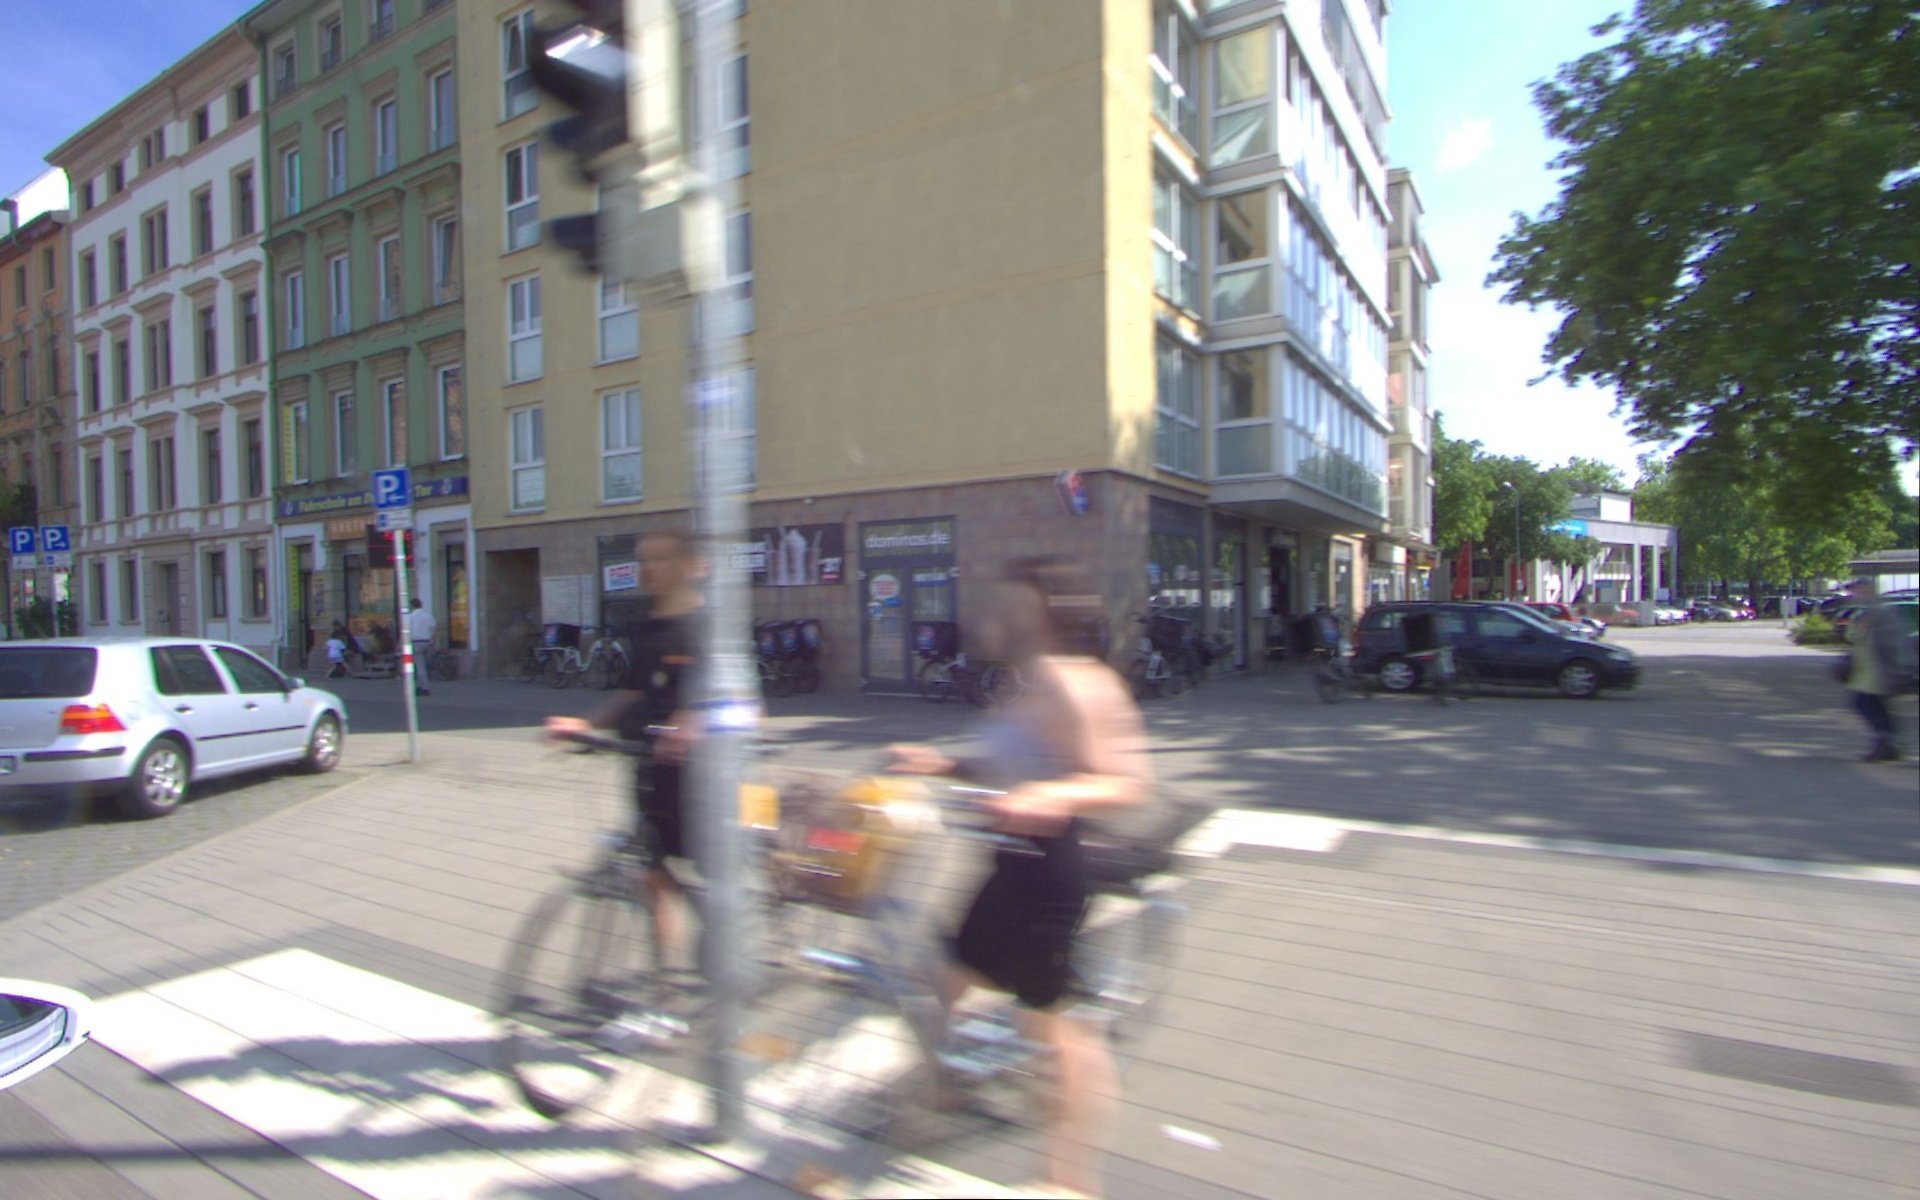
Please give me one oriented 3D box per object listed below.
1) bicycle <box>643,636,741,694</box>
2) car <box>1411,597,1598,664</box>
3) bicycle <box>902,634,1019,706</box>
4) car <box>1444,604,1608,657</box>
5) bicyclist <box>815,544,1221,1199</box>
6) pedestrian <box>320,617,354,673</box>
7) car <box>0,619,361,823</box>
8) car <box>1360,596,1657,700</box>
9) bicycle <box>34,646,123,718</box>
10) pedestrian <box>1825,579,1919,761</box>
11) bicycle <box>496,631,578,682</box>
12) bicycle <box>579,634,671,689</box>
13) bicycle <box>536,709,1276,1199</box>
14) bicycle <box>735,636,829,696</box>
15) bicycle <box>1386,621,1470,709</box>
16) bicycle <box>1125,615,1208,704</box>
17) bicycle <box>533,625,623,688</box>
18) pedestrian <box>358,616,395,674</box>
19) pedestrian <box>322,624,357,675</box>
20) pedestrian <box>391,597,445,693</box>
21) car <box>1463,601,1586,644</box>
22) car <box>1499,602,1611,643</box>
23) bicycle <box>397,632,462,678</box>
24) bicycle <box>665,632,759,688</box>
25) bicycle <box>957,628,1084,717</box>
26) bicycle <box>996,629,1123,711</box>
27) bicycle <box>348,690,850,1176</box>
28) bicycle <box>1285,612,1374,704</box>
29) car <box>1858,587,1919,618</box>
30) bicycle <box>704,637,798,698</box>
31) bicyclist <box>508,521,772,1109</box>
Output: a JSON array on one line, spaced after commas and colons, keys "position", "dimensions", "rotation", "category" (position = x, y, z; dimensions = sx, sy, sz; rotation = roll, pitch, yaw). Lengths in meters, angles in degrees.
[{"position": [-4.640, 1.108, 17.315], "dimensions": [1.731, 0.928, 0.581], "rotation": [-1, 1, 32], "category": "bicycle"}, {"position": [13.540, 0.699, 24.959], "dimensions": [3.942, 1.459, 1.880], "rotation": [2, 2, 33], "category": "car"}, {"position": [-0.015, 1.010, 14.886], "dimensions": [1.735, 0.978, 0.580], "rotation": [-1, 1, 38], "category": "bicycle"}, {"position": [16.150, 0.816, 28.629], "dimensions": [3.942, 1.287, 1.734], "rotation": [2, 1, 33], "category": "car"}, {"position": [0.120, 0.701, 2.346], "dimensions": [0.606, 1.593, 0.727], "rotation": [0, 0, -40], "category": "bicyclist"}, {"position": [-15.481, 1.109, 24.887], "dimensions": [0.522, 1.372, 0.524], "rotation": [0, 1, 32], "category": "pedestrian"}, {"position": [-7.362, 0.942, 9.109], "dimensions": [1.779, 1.458, 4.001], "rotation": [0, -2, -7], "category": "car"}, {"position": [8.769, 0.742, 16.198], "dimensions": [4.035, 1.489, 1.651], "rotation": [0, -3, 33], "category": "car"}, {"position": [-14.782, 1.352, 16.782], "dimensions": [1.794, 1.110, 0.580], "rotation": [-2, 3, 33], "category": "bicycle"}, {"position": [7.804, 0.550, 8.099], "dimensions": [1.101, 1.423, 0.653], "rotation": [0, 3, 31], "category": "pedestrian"}, {"position": [-8.645, 1.140, 20.448], "dimensions": [1.754, 0.978, 0.580], "rotation": [-1, 3, 32], "category": "bicycle"}, {"position": [-6.172, 1.109, 18.410], "dimensions": [1.731, 0.940, 0.580], "rotation": [-1, 3, 32], "category": "bicycle"}, {"position": [-0.030, 0.930, 2.528], "dimensions": [1.777, 1.145, 0.748], "rotation": [0, -1, -40], "category": "bicycle"}, {"position": [-3.028, 1.099, 16.945], "dimensions": [1.736, 0.928, 0.579], "rotation": [-1, 1, 40], "category": "bicycle"}, {"position": [6.567, 0.875, 14.008], "dimensions": [0.577, 1.100, 1.741], "rotation": [0, 1, 42], "category": "bicycle"}, {"position": [3.091, 0.842, 14.889], "dimensions": [0.534, 1.202, 1.878], "rotation": [0, 1, 34], "category": "bicycle"}, {"position": [-7.269, 1.054, 19.039], "dimensions": [1.794, 1.110, 0.580], "rotation": [-1, 3, 32], "category": "bicycle"}, {"position": [-14.170, 1.086, 24.299], "dimensions": [0.637, 1.392, 0.524], "rotation": [0, 1, 32], "category": "pedestrian"}, {"position": [-14.858, 1.182, 23.979], "dimensions": [0.522, 1.183, 0.524], "rotation": [0, 1, 32], "category": "pedestrian"}, {"position": [-10.309, 0.842, 19.047], "dimensions": [0.693, 1.768, 0.608], "rotation": [-1, 1, 32], "category": "pedestrian"}, {"position": [20.041, 0.755, 35.594], "dimensions": [3.682, 1.358, 1.734], "rotation": [2, 2, 33], "category": "car"}, {"position": [23.252, 0.849, 39.184], "dimensions": [3.682, 1.418, 1.734], "rotation": [2, 2, 33], "category": "car"}, {"position": [-12.032, 1.232, 22.698], "dimensions": [1.754, 0.978, 0.412], "rotation": [-1, 3, 32], "category": "bicycle"}, {"position": [-4.417, 1.054, 17.791], "dimensions": [1.732, 0.928, 0.580], "rotation": [-1, 1, 33], "category": "bicycle"}, {"position": [0.797, 0.953, 13.650], "dimensions": [1.739, 1.101, 0.578], "rotation": [-1, 3, 45], "category": "bicycle"}, {"position": [1.371, 0.947, 13.990], "dimensions": [1.736, 1.057, 0.579], "rotation": [-1, 1, 39], "category": "bicycle"}, {"position": [-1.117, 0.960, 3.572], "dimensions": [0.575, 1.145, 1.791], "rotation": [-1, -1, 26], "category": "bicycle"}, {"position": [5.331, 0.798, 14.396], "dimensions": [0.577, 1.235, 1.741], "rotation": [0, 0, 42], "category": "bicycle"}, {"position": [45.913, 0.134, 48.029], "dimensions": [1.978, 1.390, 3.963], "rotation": [0, 2, -41], "category": "car"}, {"position": [-3.484, 1.094, 16.620], "dimensions": [1.736, 0.928, 0.579], "rotation": [-1, 1, 40], "category": "bicycle"}, {"position": [-1.066, 0.651, 3.400], "dimensions": [0.575, 1.757, 0.615], "rotation": [-1, 0, 26], "category": "bicyclist"}]
